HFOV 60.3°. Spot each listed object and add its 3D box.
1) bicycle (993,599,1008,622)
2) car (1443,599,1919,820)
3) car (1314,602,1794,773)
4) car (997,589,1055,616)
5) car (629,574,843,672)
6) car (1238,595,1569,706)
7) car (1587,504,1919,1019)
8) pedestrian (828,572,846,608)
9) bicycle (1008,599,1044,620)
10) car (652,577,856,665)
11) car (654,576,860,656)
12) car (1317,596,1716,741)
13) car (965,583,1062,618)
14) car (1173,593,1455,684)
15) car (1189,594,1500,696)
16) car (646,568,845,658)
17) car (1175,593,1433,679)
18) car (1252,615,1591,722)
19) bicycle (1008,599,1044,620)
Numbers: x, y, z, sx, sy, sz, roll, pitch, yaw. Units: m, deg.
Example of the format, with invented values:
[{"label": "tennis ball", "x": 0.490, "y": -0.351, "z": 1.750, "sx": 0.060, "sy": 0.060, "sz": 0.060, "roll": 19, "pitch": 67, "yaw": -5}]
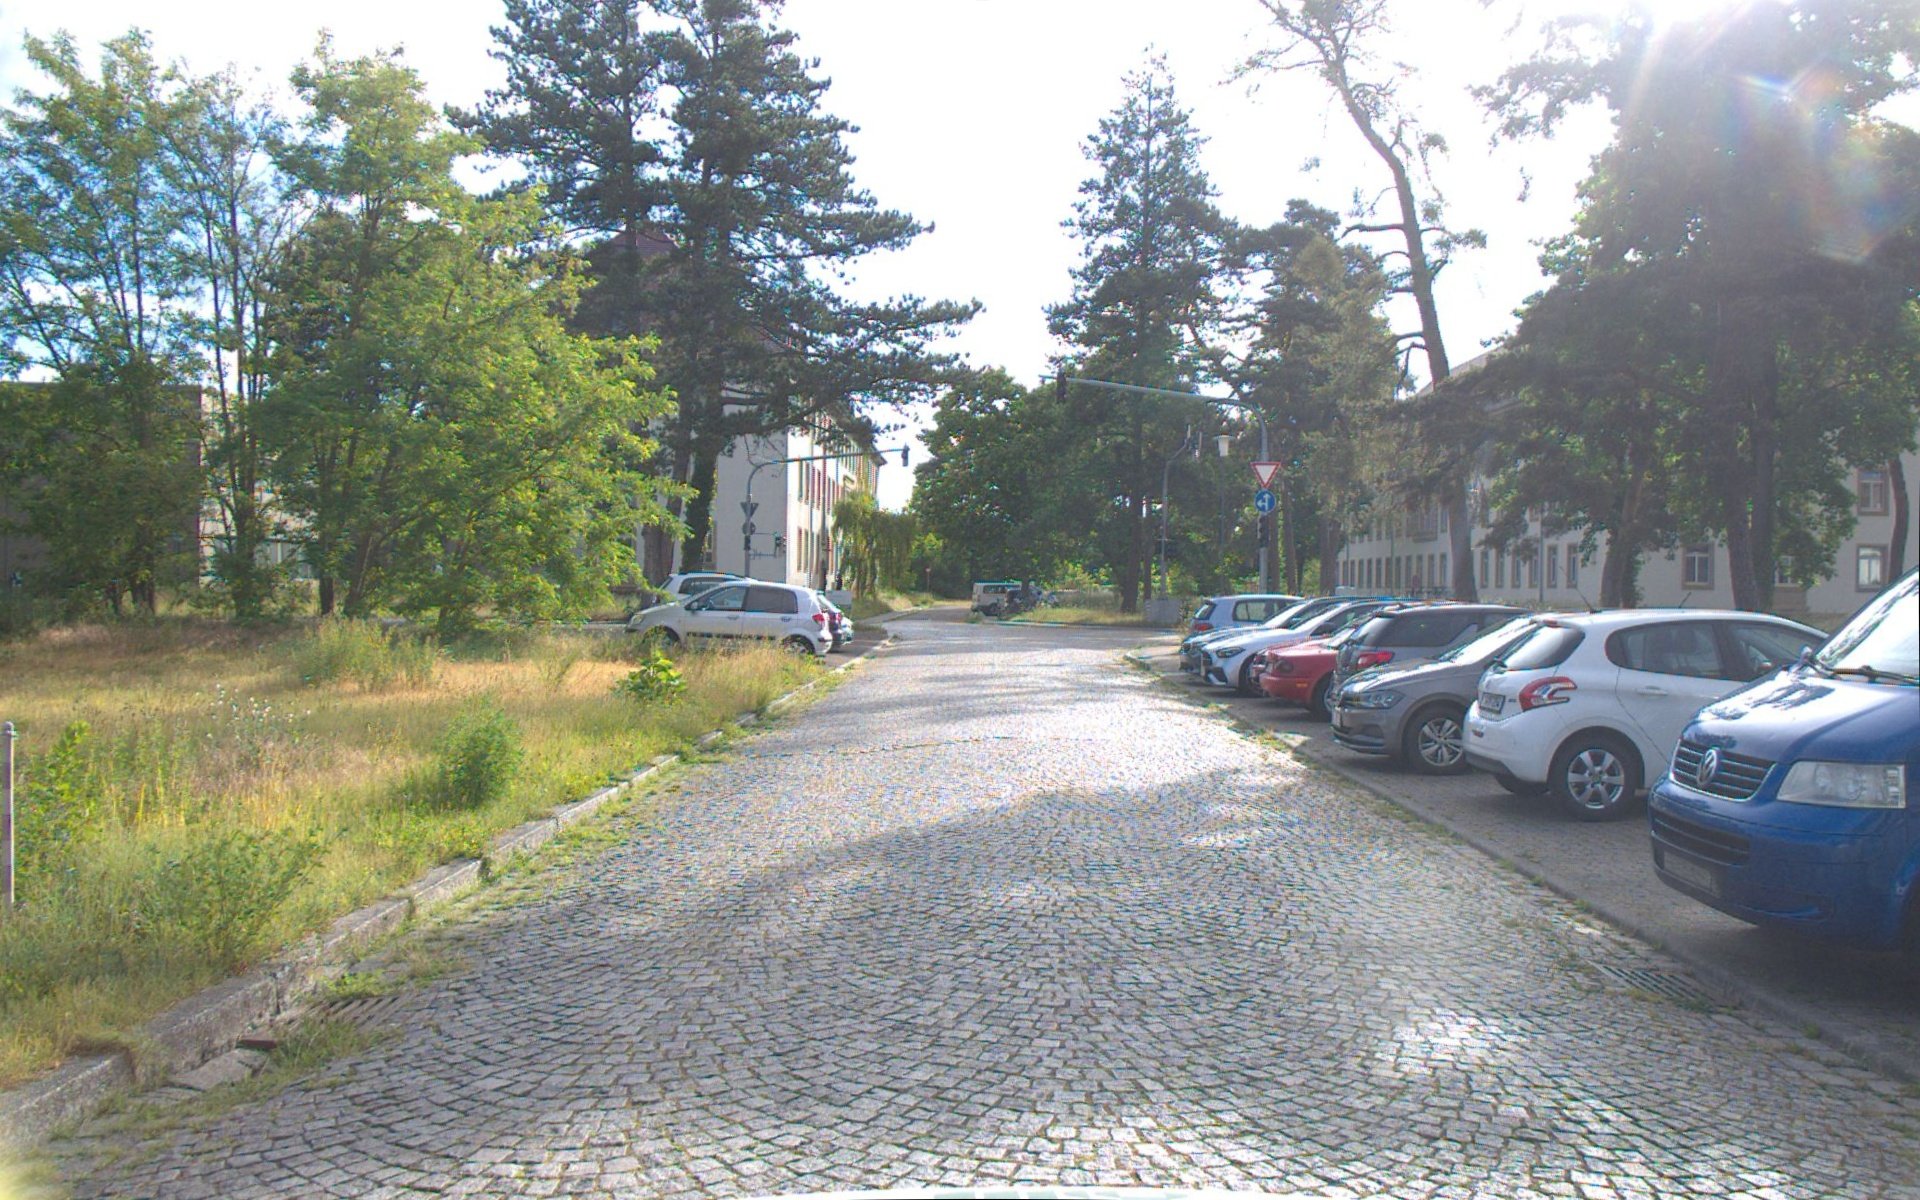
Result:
[{"label": "bicycle", "x": 1.921, "y": 0.483, "z": 78.667, "sx": 0.713, "sy": 1.016, "sz": 1.799, "roll": 0, "pitch": 1, "yaw": 1}, {"label": "car", "x": 5.846, "y": 0.783, "z": 12.666, "sx": 3.794, "sy": 1.557, "sz": 1.808, "roll": 0, "pitch": 0, "yaw": 1}, {"label": "car", "x": 5.441, "y": 0.777, "z": 15.527, "sx": 3.869, "sy": 1.493, "sz": 1.831, "roll": 0, "pitch": 0, "yaw": 1}, {"label": "car", "x": 3.782, "y": 0.164, "z": 94.616, "sx": 2.979, "sy": 1.491, "sz": 1.715, "roll": 1, "pitch": -1, "yaw": -12}, {"label": "car", "x": -4.048, "y": 0.408, "z": 30.324, "sx": 3.609, "sy": 1.499, "sz": 1.849, "roll": 4, "pitch": 0, "yaw": -1}, {"label": "car", "x": 6.204, "y": 0.694, "z": 23.462, "sx": 4.252, "sy": 1.499, "sz": 1.740, "roll": 0, "pitch": 0, "yaw": 0}, {"label": "car", "x": 5.491, "y": 0.587, "z": 7.350, "sx": 4.636, "sy": 1.962, "sz": 1.992, "roll": -1, "pitch": 0, "yaw": 0}, {"label": "pedestrian", "x": -7.033, "y": -0.556, "z": 94.678, "sx": 0.965, "sy": 1.998, "sz": 0.932, "roll": 1, "pitch": -1, "yaw": 0}, {"label": "bicycle", "x": 3.301, "y": 0.490, "z": 82.248, "sx": 1.756, "sy": 1.016, "sz": 0.644, "roll": 0, "pitch": 1, "yaw": -1}, {"label": "car", "x": -4.057, "y": 0.418, "z": 32.980, "sx": 3.751, "sy": 1.454, "sz": 1.859, "roll": 4, "pitch": 0, "yaw": 0}, {"label": "car", "x": -4.629, "y": 0.350, "z": 38.221, "sx": 4.495, "sy": 1.480, "sz": 1.903, "roll": 4, "pitch": 1, "yaw": -2}, {"label": "car", "x": 6.100, "y": 0.728, "z": 18.446, "sx": 3.869, "sy": 1.521, "sz": 1.772, "roll": 0, "pitch": 0, "yaw": 1}, {"label": "car", "x": 3.164, "y": 0.038, "z": 98.187, "sx": 5.406, "sy": 1.949, "sz": 2.246, "roll": 1, "pitch": 0, "yaw": -13}, {"label": "car", "x": 6.034, "y": 0.643, "z": 28.513, "sx": 4.417, "sy": 1.499, "sz": 1.894, "roll": 0, "pitch": 0, "yaw": -4}, {"label": "car", "x": 5.897, "y": 0.682, "z": 25.735, "sx": 4.414, "sy": 1.499, "sz": 1.849, "roll": 0, "pitch": 0, "yaw": 0}, {"label": "car", "x": -4.564, "y": 0.271, "z": 35.679, "sx": 4.041, "sy": 1.627, "sz": 1.857, "roll": 4, "pitch": 0, "yaw": -4}, {"label": "car", "x": 6.406, "y": 0.662, "z": 31.136, "sx": 4.452, "sy": 1.532, "sz": 1.932, "roll": 0, "pitch": 0, "yaw": -1}, {"label": "car", "x": 5.793, "y": 0.845, "z": 21.086, "sx": 3.869, "sy": 1.283, "sz": 1.727, "roll": 0, "pitch": 0, "yaw": 1}, {"label": "bicycle", "x": 3.309, "y": 0.496, "z": 83.269, "sx": 1.756, "sy": 1.016, "sz": 0.644, "roll": 0, "pitch": 1, "yaw": -1}]
